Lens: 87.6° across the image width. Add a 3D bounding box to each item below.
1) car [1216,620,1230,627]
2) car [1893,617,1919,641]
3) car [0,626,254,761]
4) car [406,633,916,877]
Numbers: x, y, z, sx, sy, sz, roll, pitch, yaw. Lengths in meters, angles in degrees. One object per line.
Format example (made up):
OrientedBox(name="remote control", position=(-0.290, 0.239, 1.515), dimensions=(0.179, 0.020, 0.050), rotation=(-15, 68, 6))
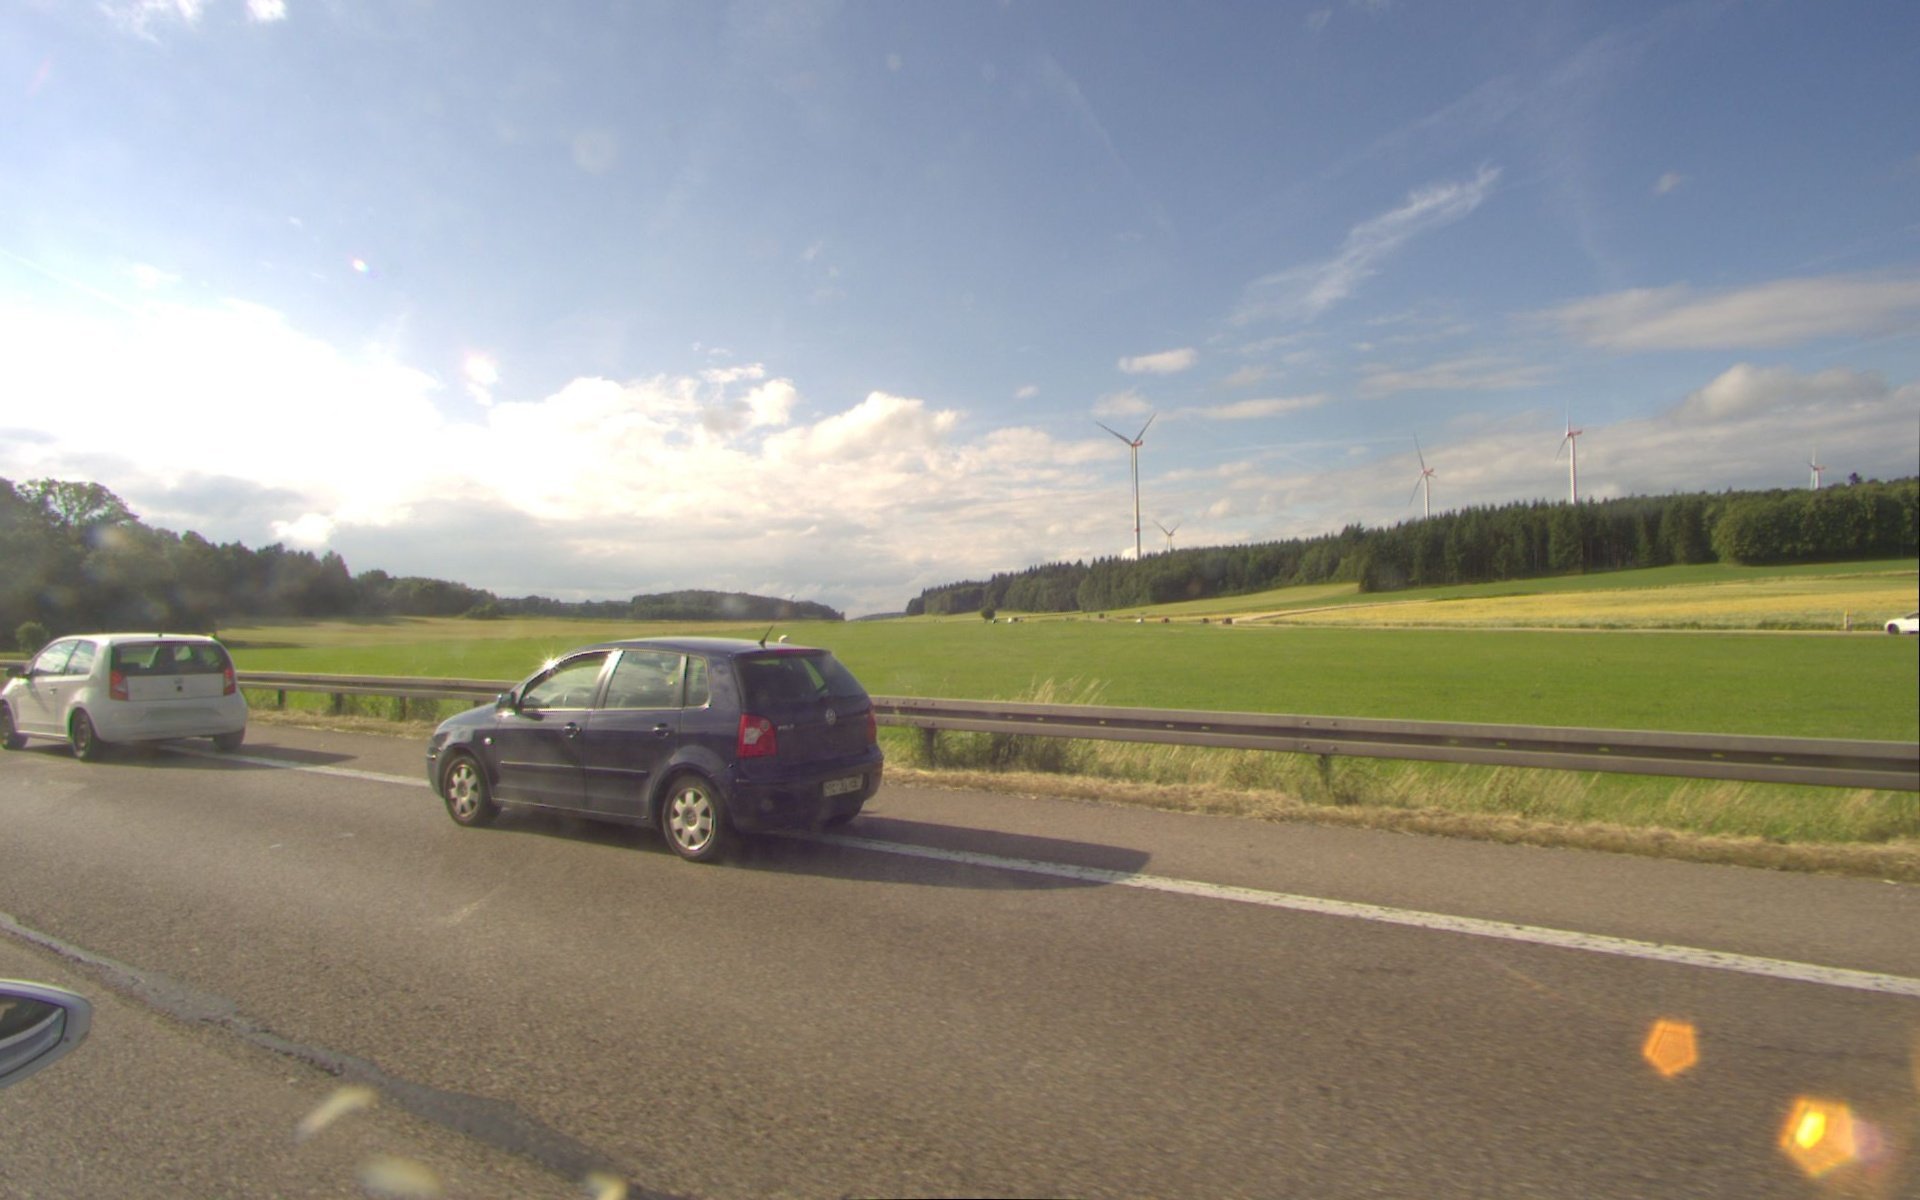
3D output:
OrientedBox(name="car", position=(61.397, 5.470, 234.088), dimensions=(1.803, 1.505, 4.222), rotation=(0, -2, -5))
OrientedBox(name="car", position=(66.991, 1.960, 68.709), dimensions=(1.962, 1.638, 3.999), rotation=(0, -2, -10))
OrientedBox(name="car", position=(-10.731, 1.098, 12.811), dimensions=(3.328, 1.514, 1.547), rotation=(-1, -1, 31))
OrientedBox(name="car", position=(-2.360, 1.004, 7.724), dimensions=(3.719, 1.464, 1.708), rotation=(-2, -2, 30))
